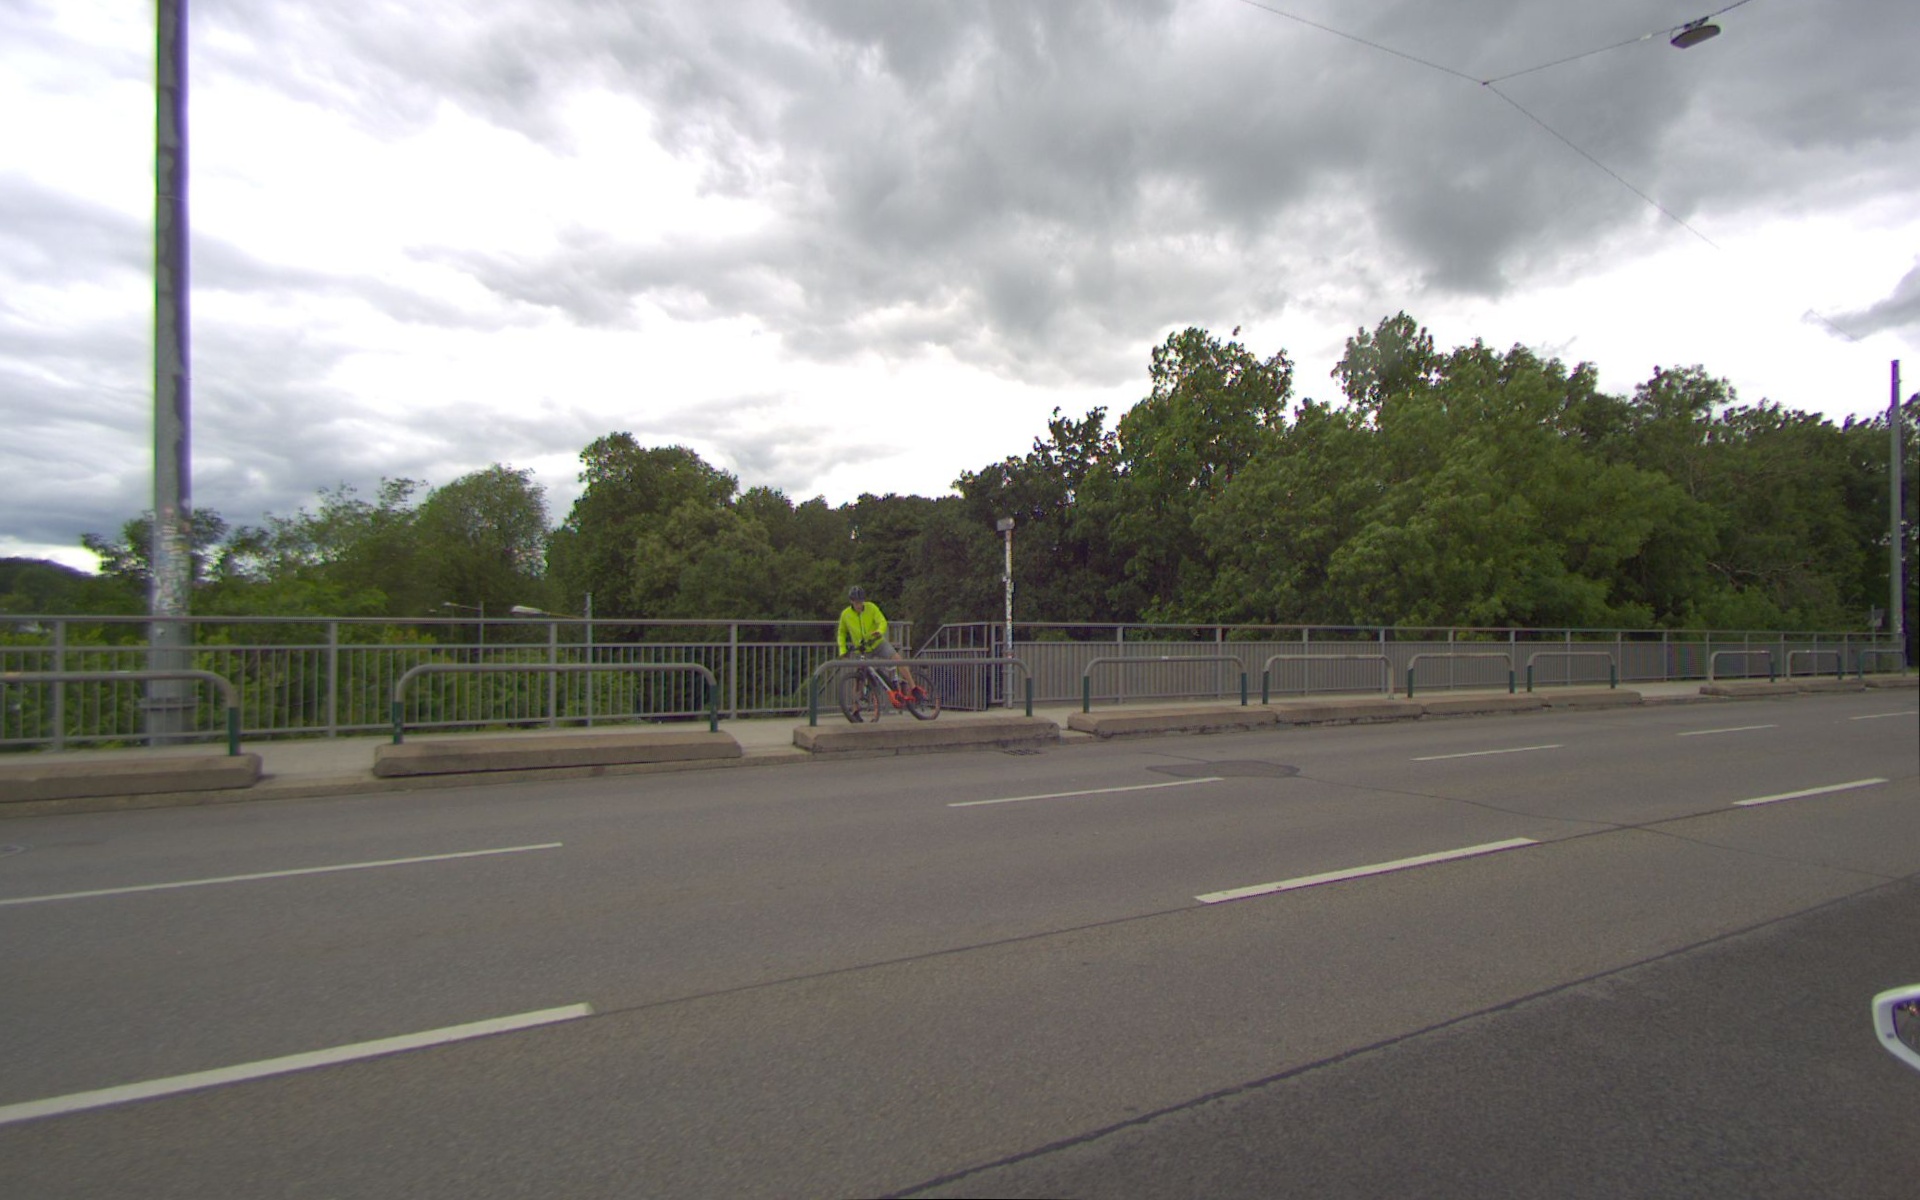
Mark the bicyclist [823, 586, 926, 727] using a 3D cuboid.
[{"bbox_3d":[-1.127,0.725,13.415,0.889,1.788,1.134,0,-1,30],"label":"bicyclist"}]

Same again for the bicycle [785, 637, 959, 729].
[{"bbox_3d":[-1.093,1.047,13.488,0.904,1.065,2.795,0,-1,30],"label":"bicycle"}]
